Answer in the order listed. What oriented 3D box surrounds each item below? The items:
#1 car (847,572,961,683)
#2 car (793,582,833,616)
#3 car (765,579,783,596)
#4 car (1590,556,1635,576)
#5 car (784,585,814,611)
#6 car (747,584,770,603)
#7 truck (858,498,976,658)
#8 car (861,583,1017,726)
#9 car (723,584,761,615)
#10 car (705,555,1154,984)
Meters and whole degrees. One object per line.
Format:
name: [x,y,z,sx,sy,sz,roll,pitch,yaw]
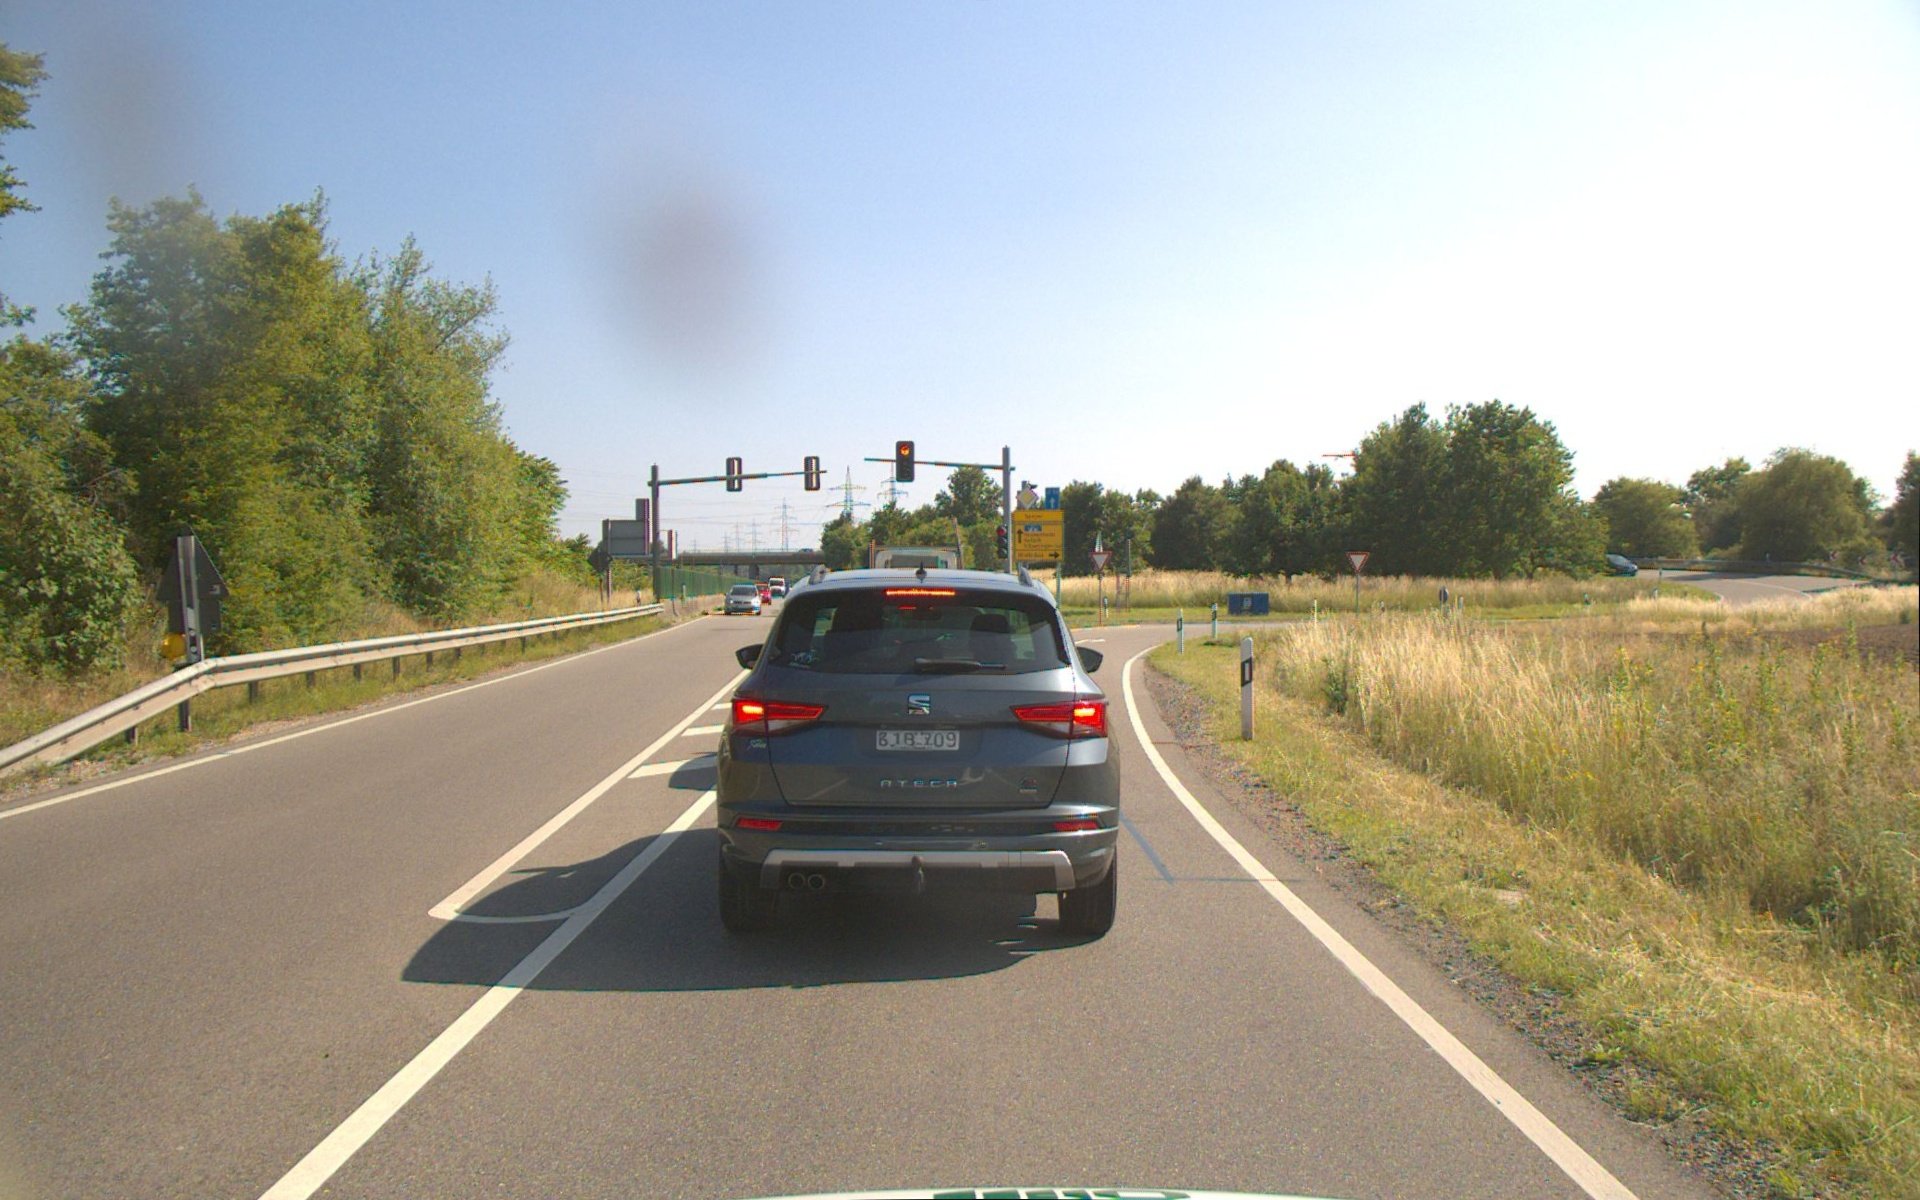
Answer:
car: [-0.972,0.393,27.630,1.750,1.705,3.998,0,1,-3]
car: [-7.033,-0.077,78.777,1.781,1.567,3.994,-1,1,-7]
car: [-22.377,-1.569,198.856,1.927,1.986,4.987,-1,1,-8]
car: [47.340,-2.461,120.094,1.566,1.416,3.625,-1,1,-5]
car: [-8.899,-0.133,91.225,1.652,1.404,3.529,0,1,-6]
car: [-15.480,-0.507,126.962,1.728,1.456,3.994,-1,1,-7]
truck: [-0.939,-0.421,35.271,2.290,3.119,5.807,0,0,-2]
car: [-0.348,0.593,20.659,1.750,1.570,3.998,0,1,-3]
car: [-10.735,-0.050,81.671,1.789,1.456,3.994,-1,1,-7]
car: [-0.222,0.629,8.480,1.750,1.657,3.998,0,1,-3]
